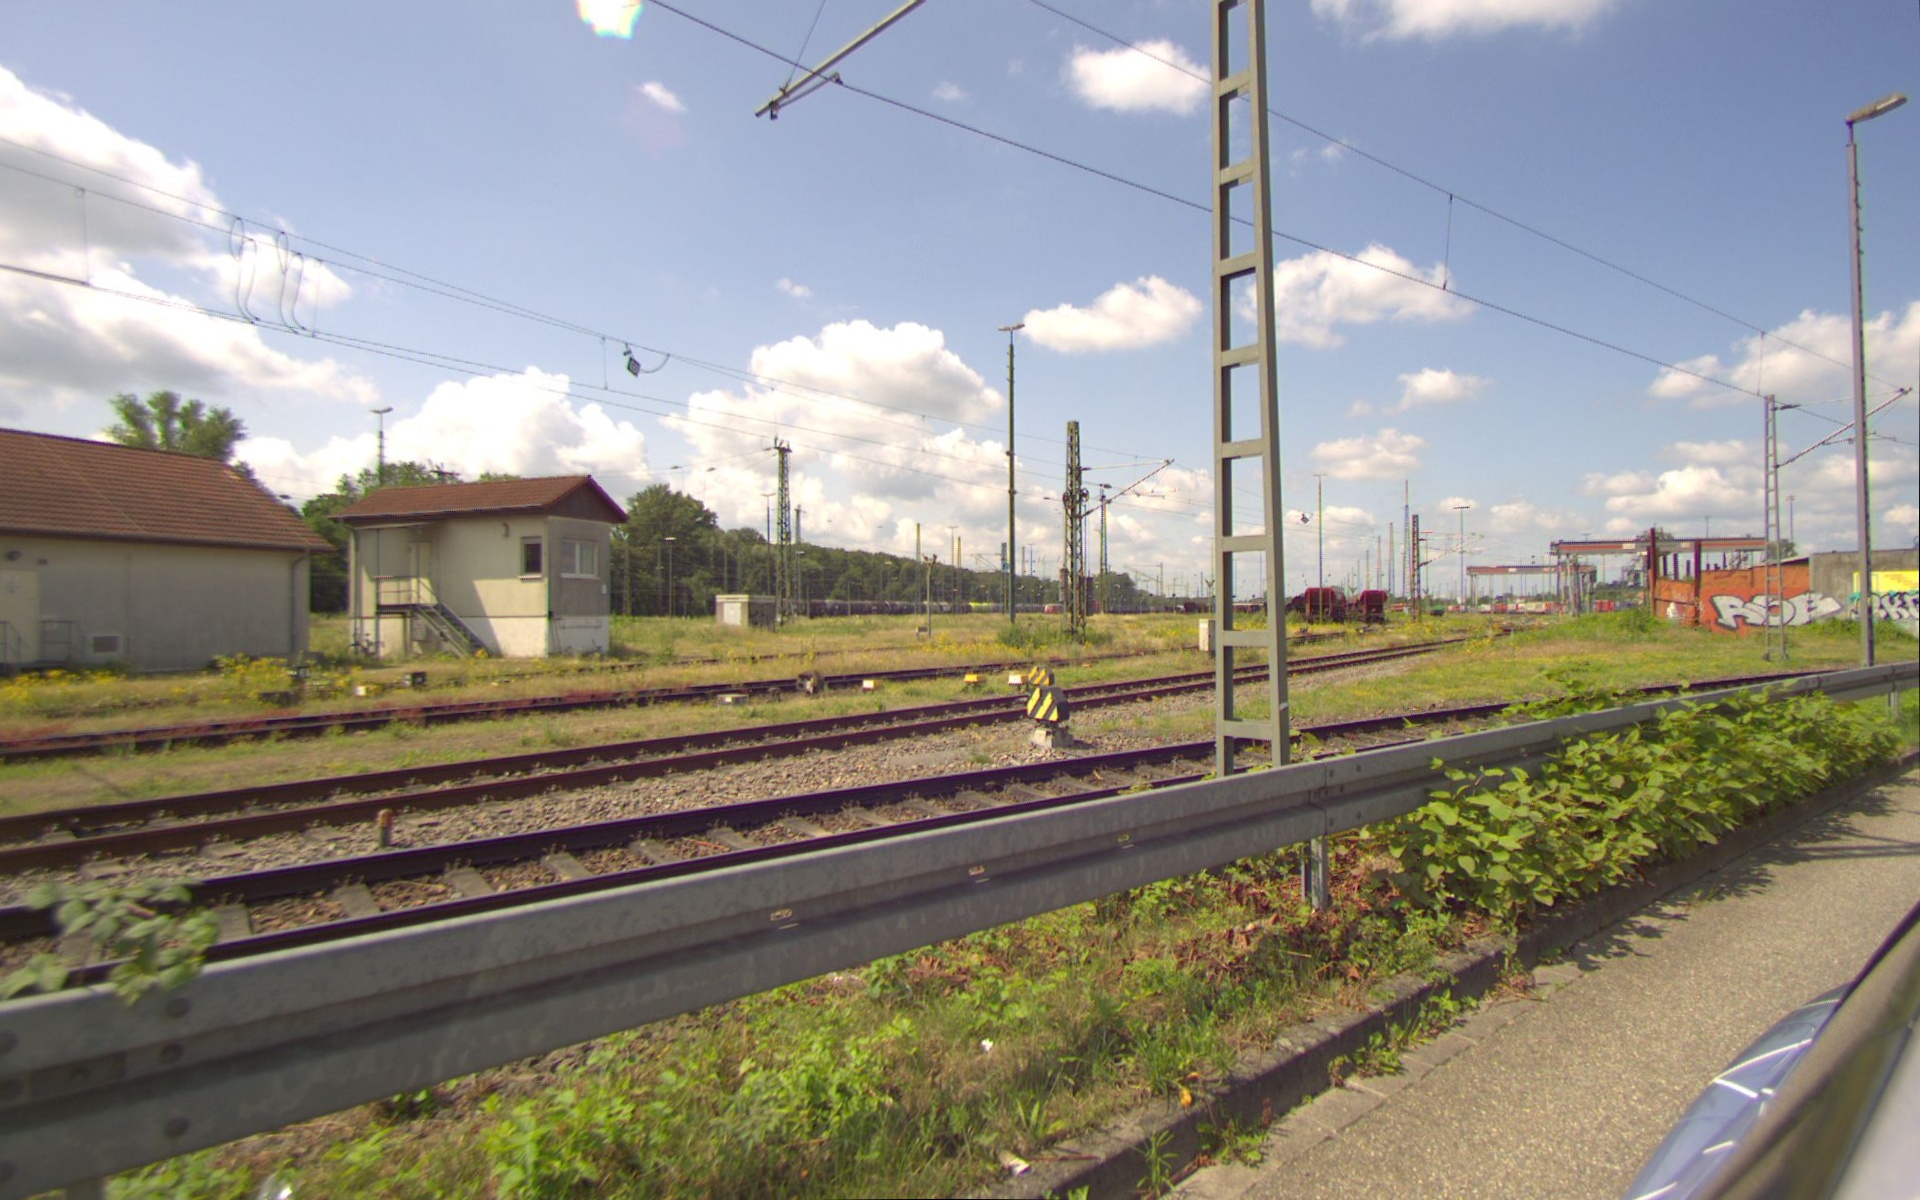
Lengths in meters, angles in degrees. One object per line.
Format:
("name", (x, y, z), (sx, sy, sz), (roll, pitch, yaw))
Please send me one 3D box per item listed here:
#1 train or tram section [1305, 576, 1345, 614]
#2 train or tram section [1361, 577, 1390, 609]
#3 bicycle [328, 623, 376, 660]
("train or tram section", (38.698, -0.420, 107.105), (3.265, 3.764, 12.450), (-1, -1, 23))
("train or tram section", (51.951, -0.749, 126.367), (3.170, 3.764, 12.450), (-1, -1, 23))
("bicycle", (-20.514, 1.402, 34.147), (1.853, 1.219, 0.409), (-1, -1, 24))
